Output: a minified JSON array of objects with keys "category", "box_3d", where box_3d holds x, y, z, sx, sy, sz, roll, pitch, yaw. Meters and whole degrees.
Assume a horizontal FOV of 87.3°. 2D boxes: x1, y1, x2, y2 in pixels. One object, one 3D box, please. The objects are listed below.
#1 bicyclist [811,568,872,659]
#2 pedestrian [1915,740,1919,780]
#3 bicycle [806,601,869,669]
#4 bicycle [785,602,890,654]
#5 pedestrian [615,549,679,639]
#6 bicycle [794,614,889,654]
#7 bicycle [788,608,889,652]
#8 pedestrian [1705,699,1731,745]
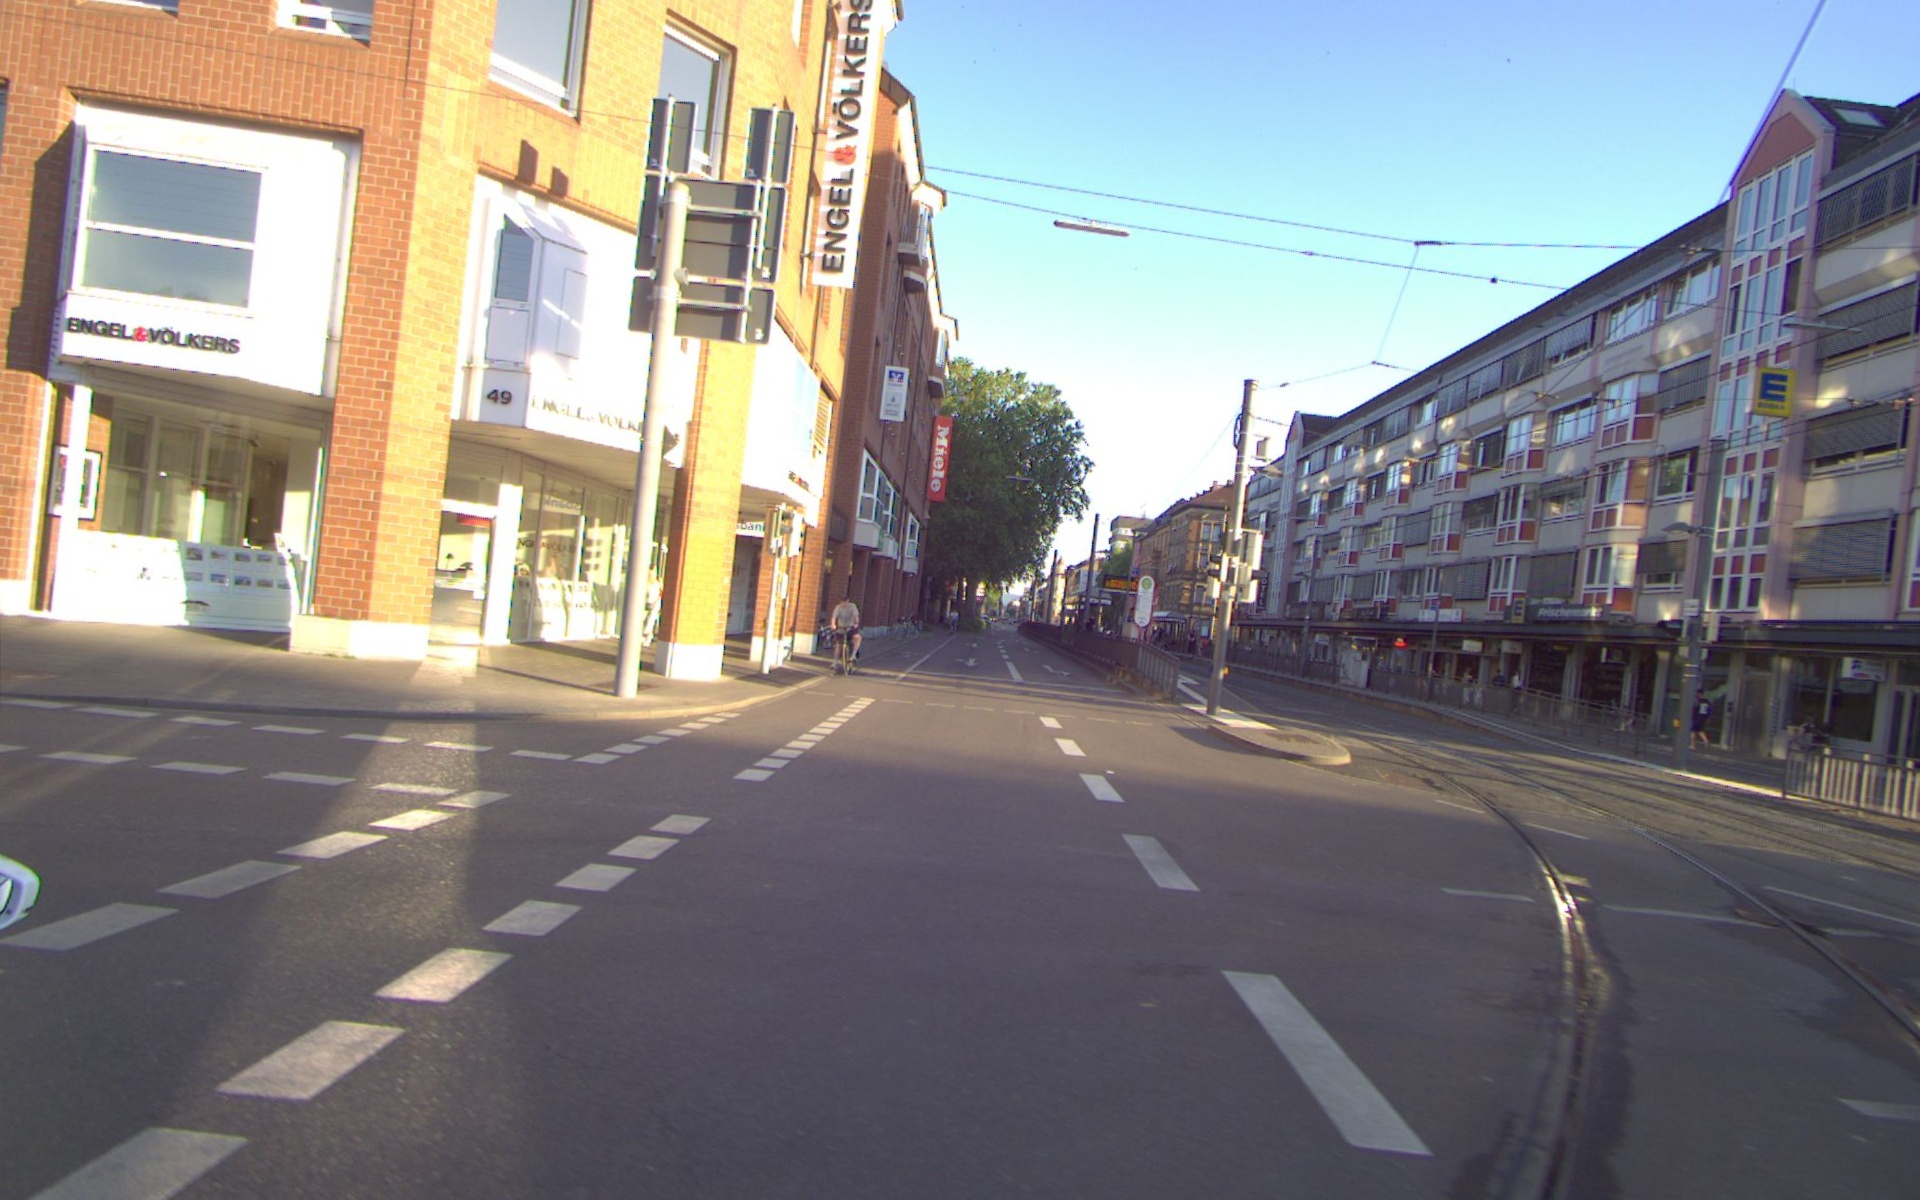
[{"category":"bicyclist","box_3d":[-2.679,0.308,22.925,0.996,1.883,1.234,9,0,-2]},{"category":"pedestrian","box_3d":[22.470,3.421,23.174,0.470,1.512,0.470,7,1,35]},{"category":"bicycle","box_3d":[-2.754,0.764,22.943,1.000,1.306,2.796,10,-1,-2]},{"category":"bicycle","box_3d":[-3.366,0.773,27.775,2.688,1.116,0.812,6,0,2]},{"category":"pedestrian","box_3d":[-6.637,-0.121,21.352,0.798,1.773,0.930,8,1,3]},{"category":"bicycle","box_3d":[-3.492,0.993,29.858,2.689,0.874,0.812,6,0,-2]},{"category":"bicycle","box_3d":[-3.442,0.862,28.717,2.688,0.984,0.813,6,-1,1]},{"category":"pedestrian","box_3d":[22.128,3.554,29.371,0.470,1.262,0.470,7,1,35]}]
